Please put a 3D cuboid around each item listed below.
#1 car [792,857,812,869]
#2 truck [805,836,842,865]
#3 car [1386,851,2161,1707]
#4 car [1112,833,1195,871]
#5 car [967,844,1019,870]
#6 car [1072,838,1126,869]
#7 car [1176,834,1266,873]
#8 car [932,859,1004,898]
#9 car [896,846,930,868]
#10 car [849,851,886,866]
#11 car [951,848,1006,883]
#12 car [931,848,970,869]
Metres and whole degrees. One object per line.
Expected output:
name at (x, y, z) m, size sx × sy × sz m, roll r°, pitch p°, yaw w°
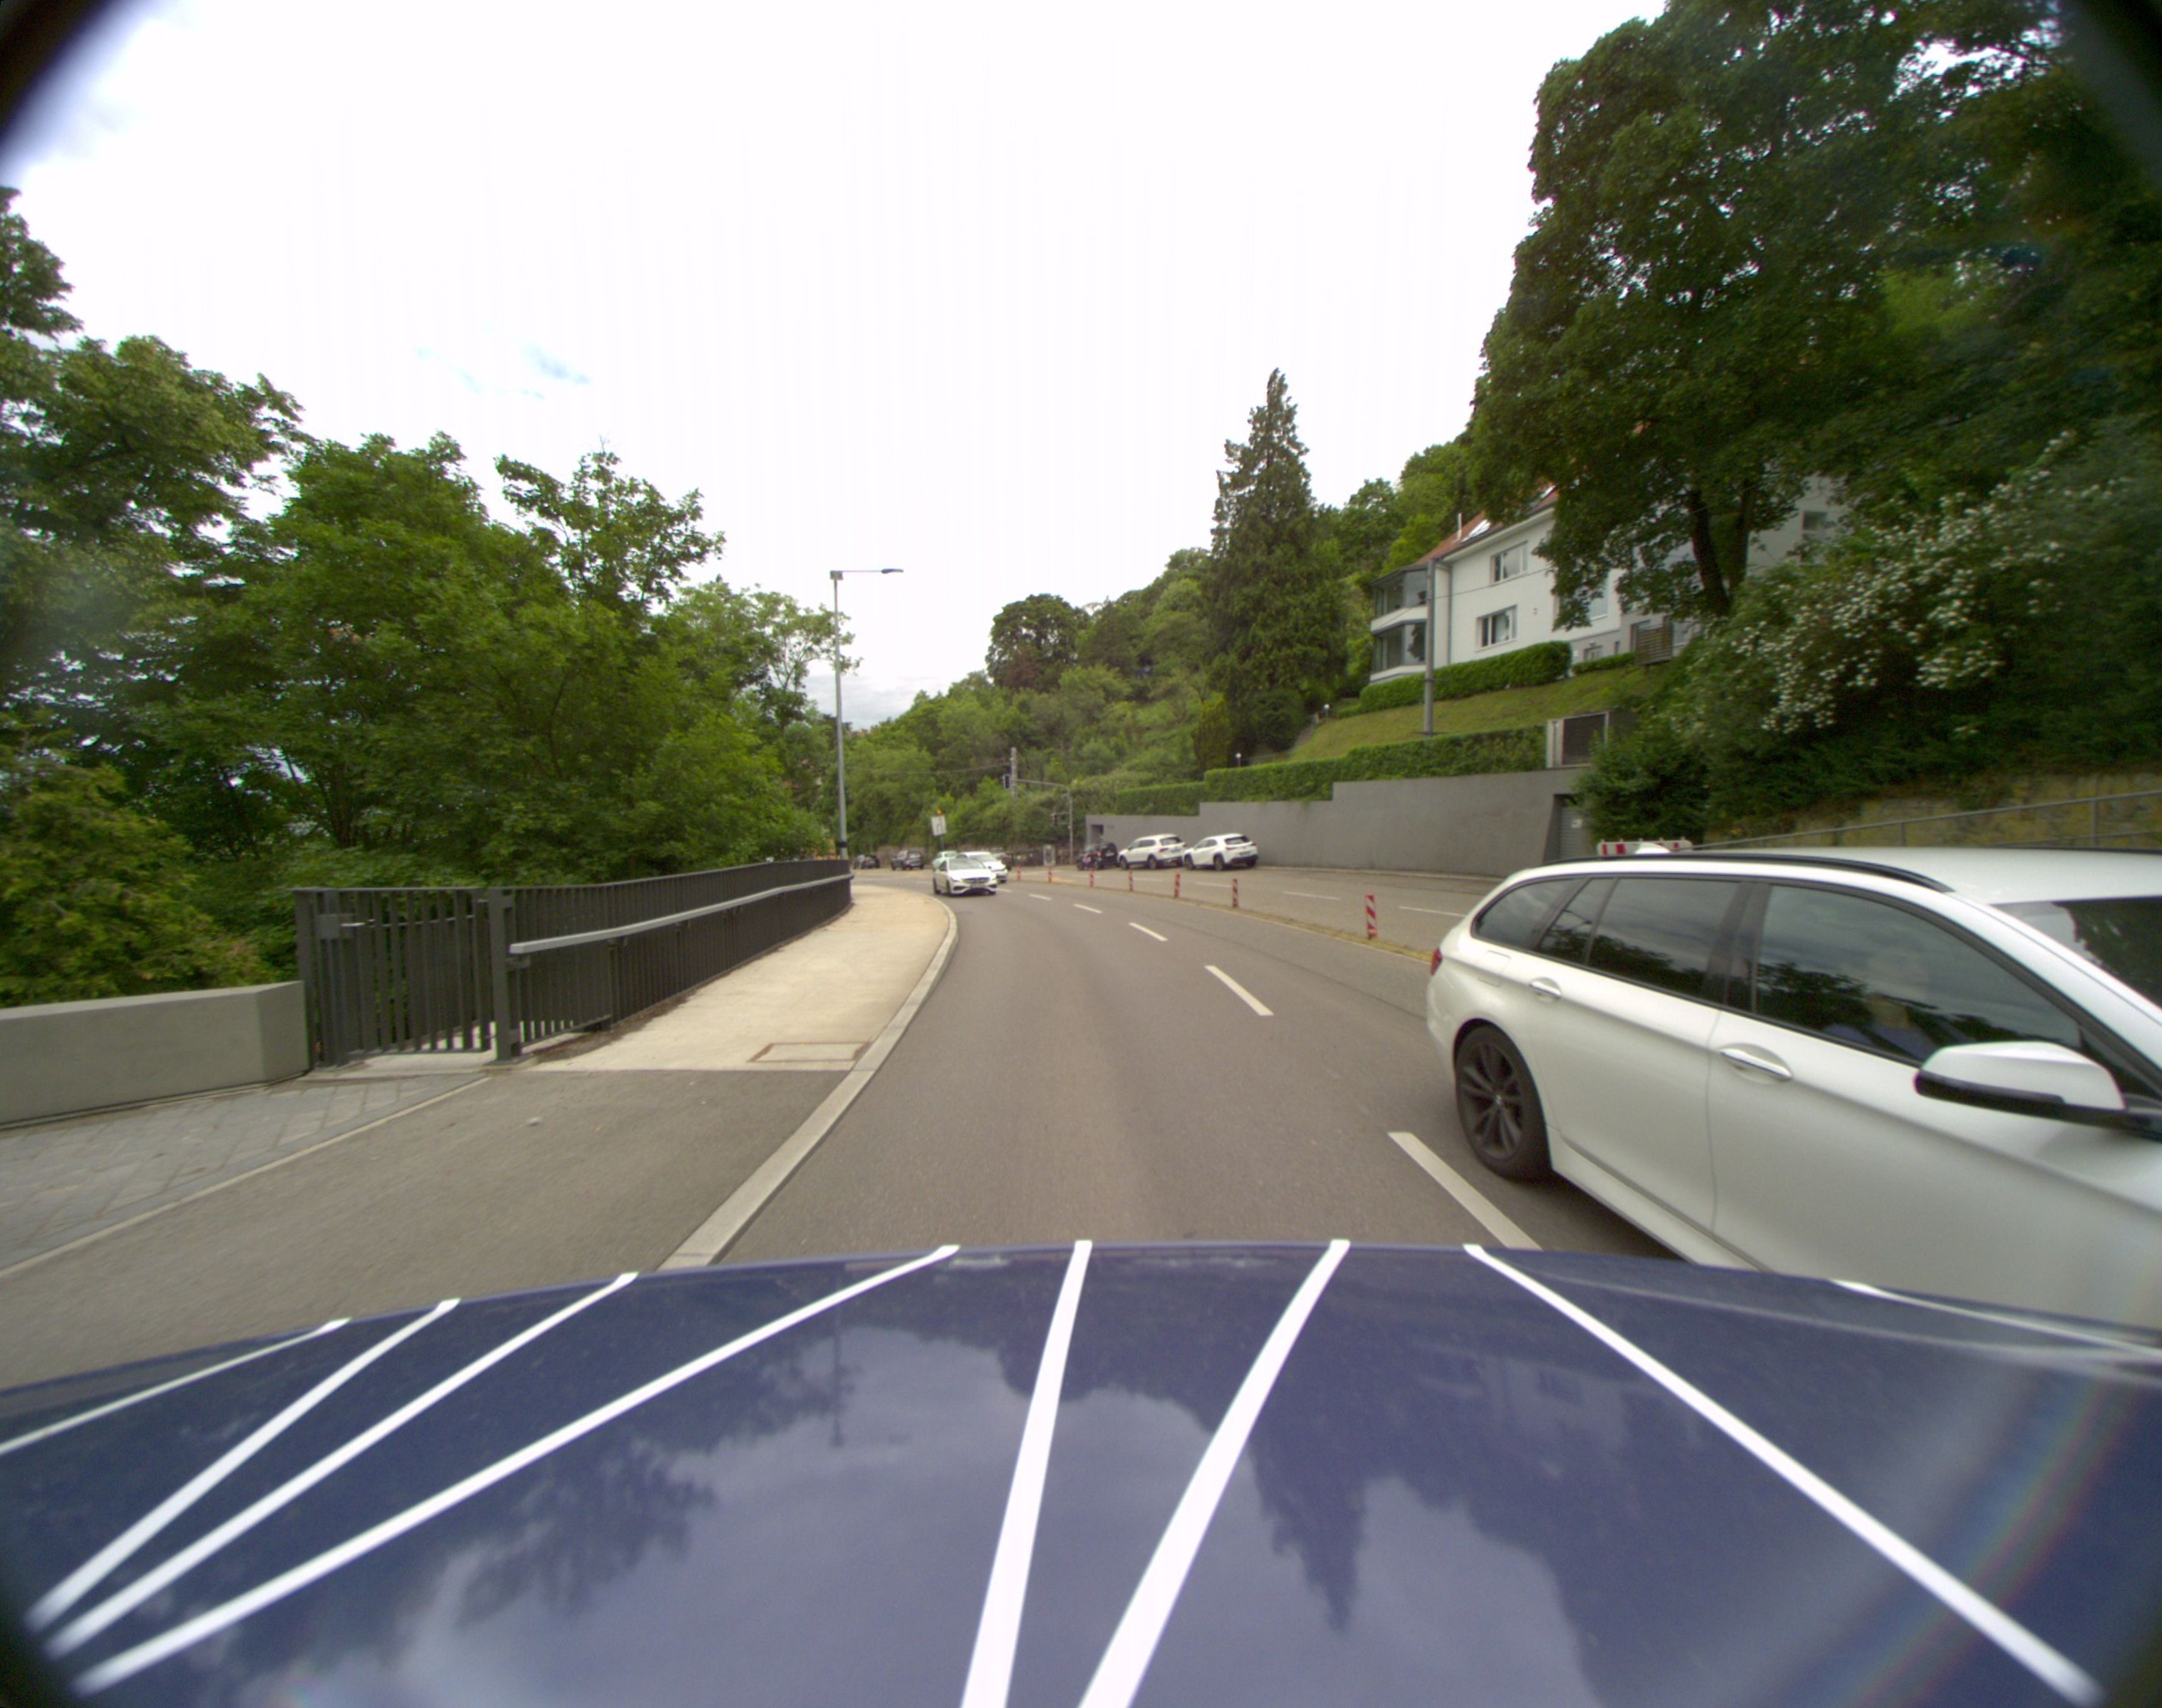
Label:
car at (-40.223, 1.266, 109.415) m, size 1.778 × 1.434 × 4.734 m, roll -5°, pitch 3°, yaw -31°
truck at (-32.388, -0.426, 95.261) m, size 2.744 × 3.490 × 7.332 m, roll -4°, pitch 2°, yaw -31°
car at (2.727, 0.862, 1.889) m, size 1.852 × 1.459 × 4.876 m, roll -4°, pitch 2°, yaw -1°
car at (3.739, -0.115, 39.892) m, size 1.867 × 1.722 × 4.750 m, roll -6°, pitch 3°, yaw -29°
car at (-6.003, 0.209, 51.367) m, size 1.719 × 1.589 × 4.196 m, roll -4°, pitch 2°, yaw -33°
car at (1.022, 0.000, 44.086) m, size 1.718 × 1.564 × 2.951 m, roll -8°, pitch 3°, yaw -30°
car at (6.301, -0.050, 34.754) m, size 1.840 × 1.564 × 4.466 m, roll -5°, pitch 2°, yaw -22°
car at (-4.464, 0.889, 29.478) m, size 1.801 × 1.299 × 4.093 m, roll -3°, pitch 1°, yaw -22°
car at (-14.651, 0.274, 66.059) m, size 1.891 × 1.687 × 4.662 m, roll -4°, pitch 2°, yaw -24°
car at (-21.797, 0.467, 77.381) m, size 1.818 × 1.422 × 4.862 m, roll -5°, pitch 2°, yaw -37°
car at (-5.313, 0.539, 38.896) m, size 1.888 × 1.570 × 3.992 m, roll -5°, pitch 2°, yaw -19°
car at (-9.957, 0.343, 57.719) m, size 1.718 × 1.458 × 3.652 m, roll -5°, pitch 2°, yaw -28°
